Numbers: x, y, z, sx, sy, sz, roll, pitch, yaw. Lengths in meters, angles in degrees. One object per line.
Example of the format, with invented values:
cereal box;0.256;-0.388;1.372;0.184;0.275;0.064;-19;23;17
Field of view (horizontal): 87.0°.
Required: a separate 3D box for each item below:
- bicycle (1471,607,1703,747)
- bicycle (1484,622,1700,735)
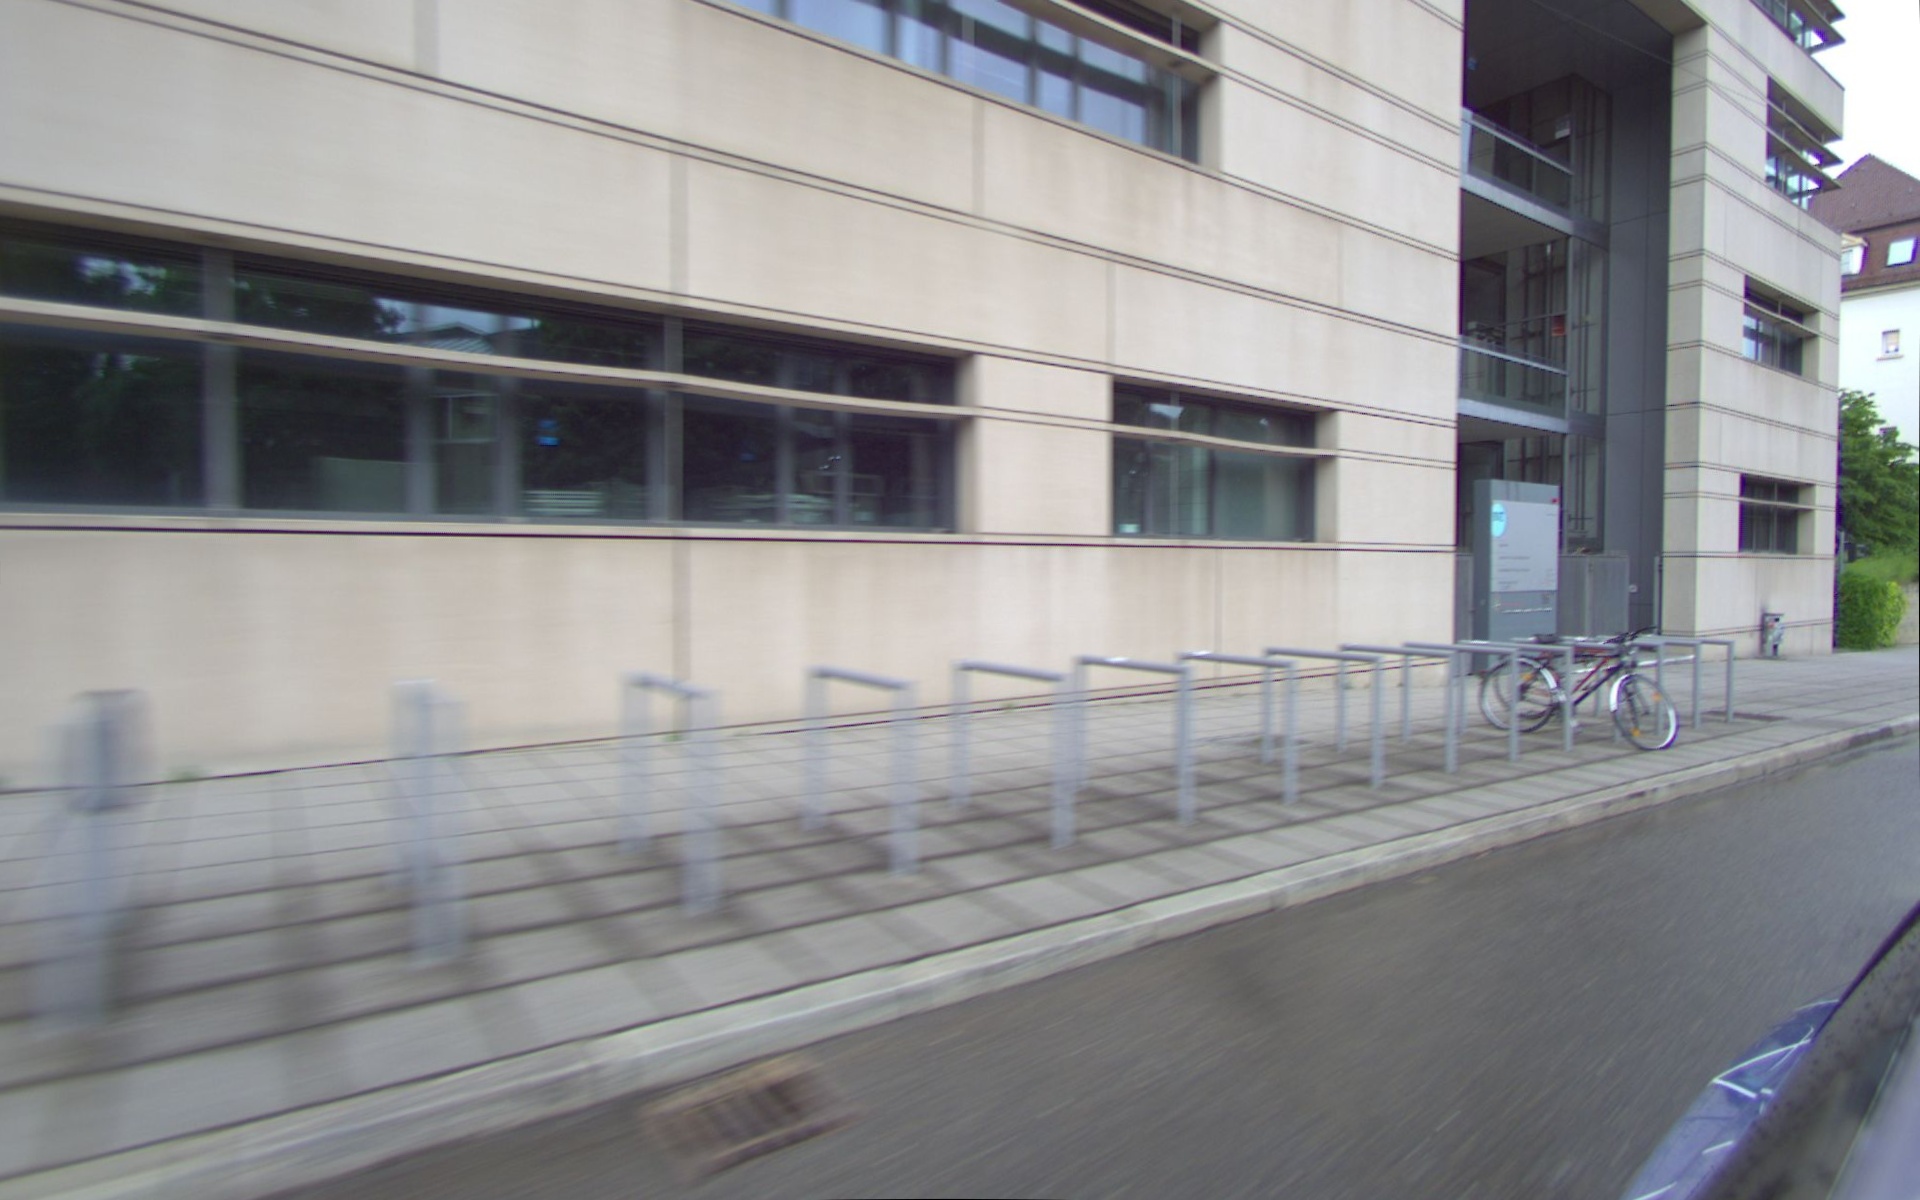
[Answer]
bicycle;5.855;0.666;9.531;0.648;1.133;1.733;0;2;-40
bicycle;6.432;0.752;10.385;0.648;0.965;1.763;0;2;-38
